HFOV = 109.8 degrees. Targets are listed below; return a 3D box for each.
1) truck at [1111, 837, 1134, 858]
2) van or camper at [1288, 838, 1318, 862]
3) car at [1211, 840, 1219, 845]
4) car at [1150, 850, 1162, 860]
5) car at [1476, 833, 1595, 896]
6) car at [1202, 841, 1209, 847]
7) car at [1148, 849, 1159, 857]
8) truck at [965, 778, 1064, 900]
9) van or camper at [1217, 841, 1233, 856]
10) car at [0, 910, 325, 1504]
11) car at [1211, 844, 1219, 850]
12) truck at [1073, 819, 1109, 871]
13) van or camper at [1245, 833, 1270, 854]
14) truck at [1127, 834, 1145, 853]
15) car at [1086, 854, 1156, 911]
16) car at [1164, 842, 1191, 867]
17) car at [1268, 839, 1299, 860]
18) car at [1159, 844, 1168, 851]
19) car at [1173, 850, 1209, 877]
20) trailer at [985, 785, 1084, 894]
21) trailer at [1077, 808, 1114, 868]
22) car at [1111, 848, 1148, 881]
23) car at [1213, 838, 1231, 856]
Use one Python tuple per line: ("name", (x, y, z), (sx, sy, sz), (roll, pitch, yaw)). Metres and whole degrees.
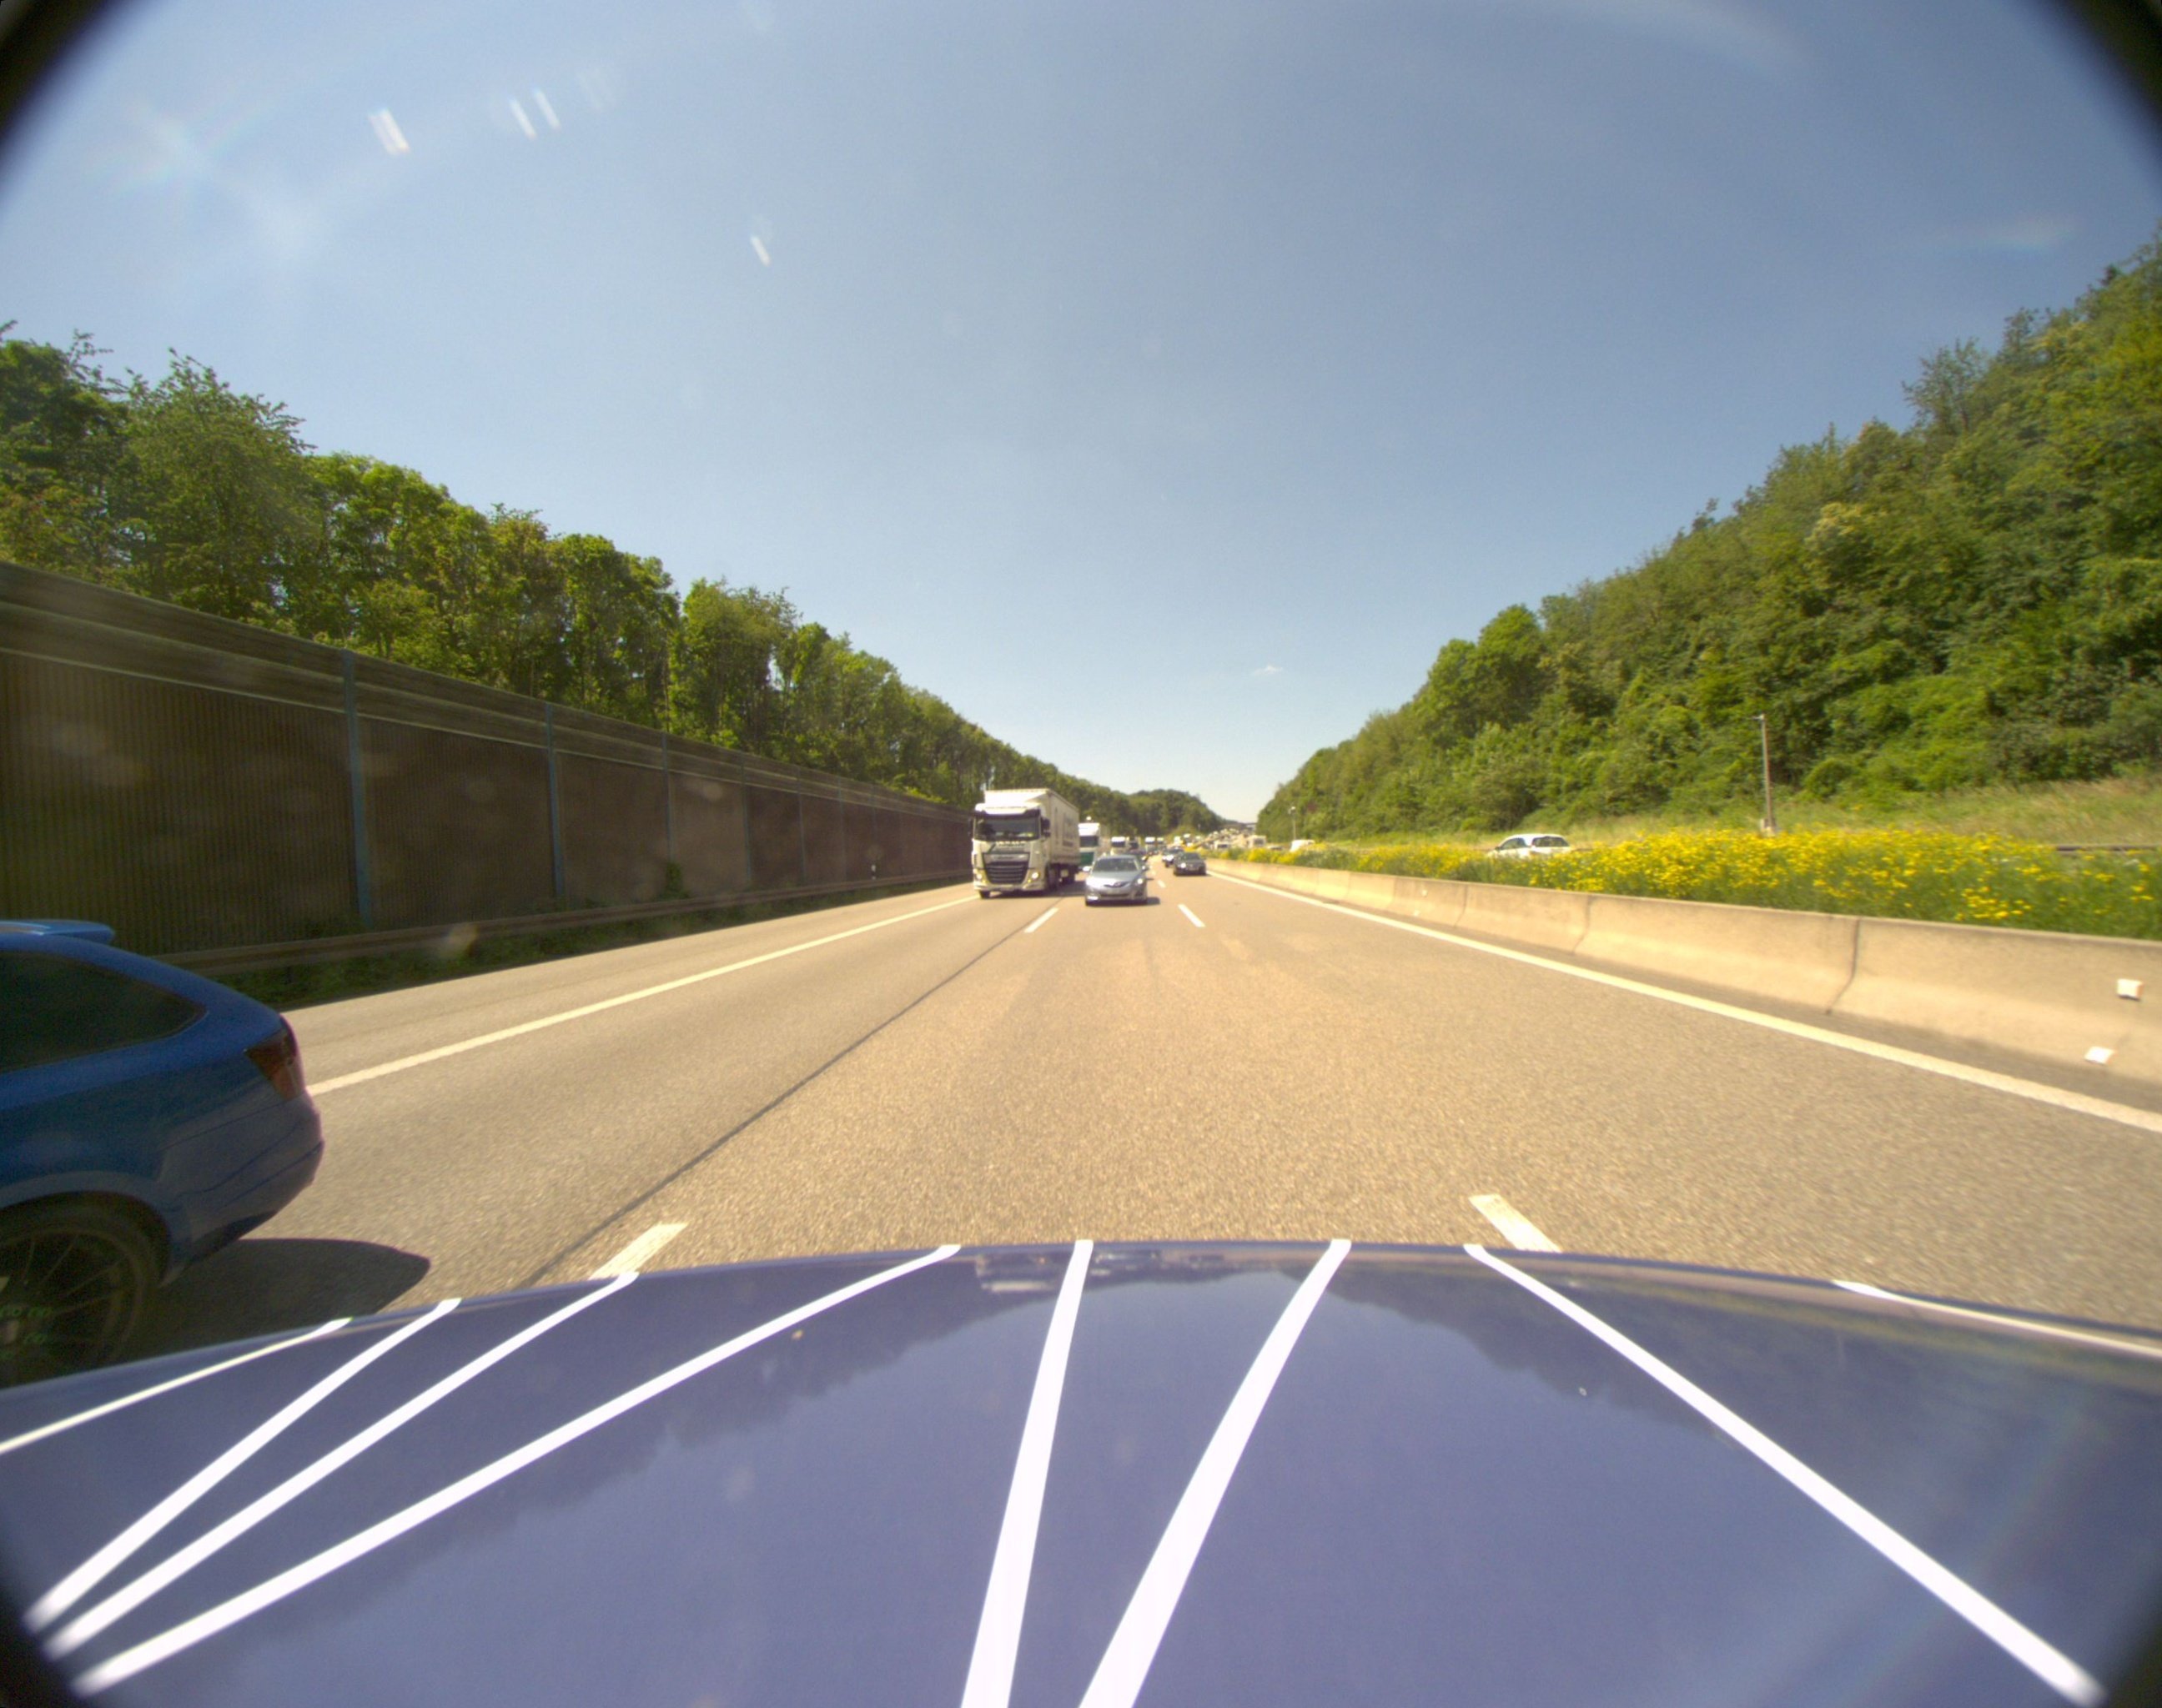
("truck", (6.968, -1.169, 126.501), (3.261, 3.337, 6.865), (-1, 2, 8))
("van or camper", (19.575, -0.391, 67.183), (1.696, 2.001, 4.213), (-2, 1, 4))
("car", (45.512, -3.893, 258.207), (1.998, 1.581, 4.163), (-2, 2, 5))
("car", (13.932, 0.127, 141.620), (1.997, 1.729, 4.001), (-1, 2, 8))
("car", (15.755, 0.279, 26.596), (1.882, 2.002, 3.999), (-2, 2, 2))
("car", (42.513, -3.318, 259.448), (1.997, 2.002, 4.001), (-1, 2, 7))
("car", (15.482, -0.214, 162.205), (1.997, 1.729, 4.001), (-1, 2, 7))
("truck", (-2.398, -0.529, 29.600), (2.792, 4.180, 5.871), (-2, 0, 4))
("van or camper", (28.684, -1.162, 151.399), (2.262, 2.882, 6.558), (-2, 1, 5))
("car", (-3.735, 1.026, 0.571), (1.654, 1.474, 4.481), (-2, 2, 3))
("car", (39.802, -2.117, 225.802), (1.998, 1.578, 4.274), (-2, 1, 5))
("truck", (0.952, -0.802, 63.806), (2.541, 4.007, 6.625), (-2, 2, 4))
("van or camper", (29.290, -1.886, 126.434), (2.545, 3.299, 9.002), (-2, 2, 4))
("truck", (11.587, -2.196, 159.510), (3.557, 3.695, 7.552), (-2, 2, 6))
("car", (1.221, 0.788, 22.996), (1.887, 1.459, 4.248), (-2, 0, 3))
("car", (8.518, 0.000, 67.249), (1.998, 2.002, 4.000), (-2, 2, 3))
("car", (16.265, -0.391, 61.235), (1.883, 1.555, 3.683), (-1, 2, 7))
("car", (23.146, -1.788, 212.907), (1.997, 1.729, 4.002), (-1, 2, 10))
("car", (6.582, 0.546, 45.800), (1.720, 1.470, 4.000), (-2, 1, 3))
("trailer", (-1.818, -0.583, 36.601), (2.792, 4.180, 13.247), (-2, 0, 4))
("trailer", (1.540, -1.556, 72.001), (2.573, 5.012, 15.271), (-2, 2, 4))
("car", (2.725, 0.522, 41.806), (1.886, 1.696, 4.085), (-2, 0, 6))
("car", (23.476, -1.155, 126.739), (2.205, 2.725, 5.748), (-2, 0, 4))
